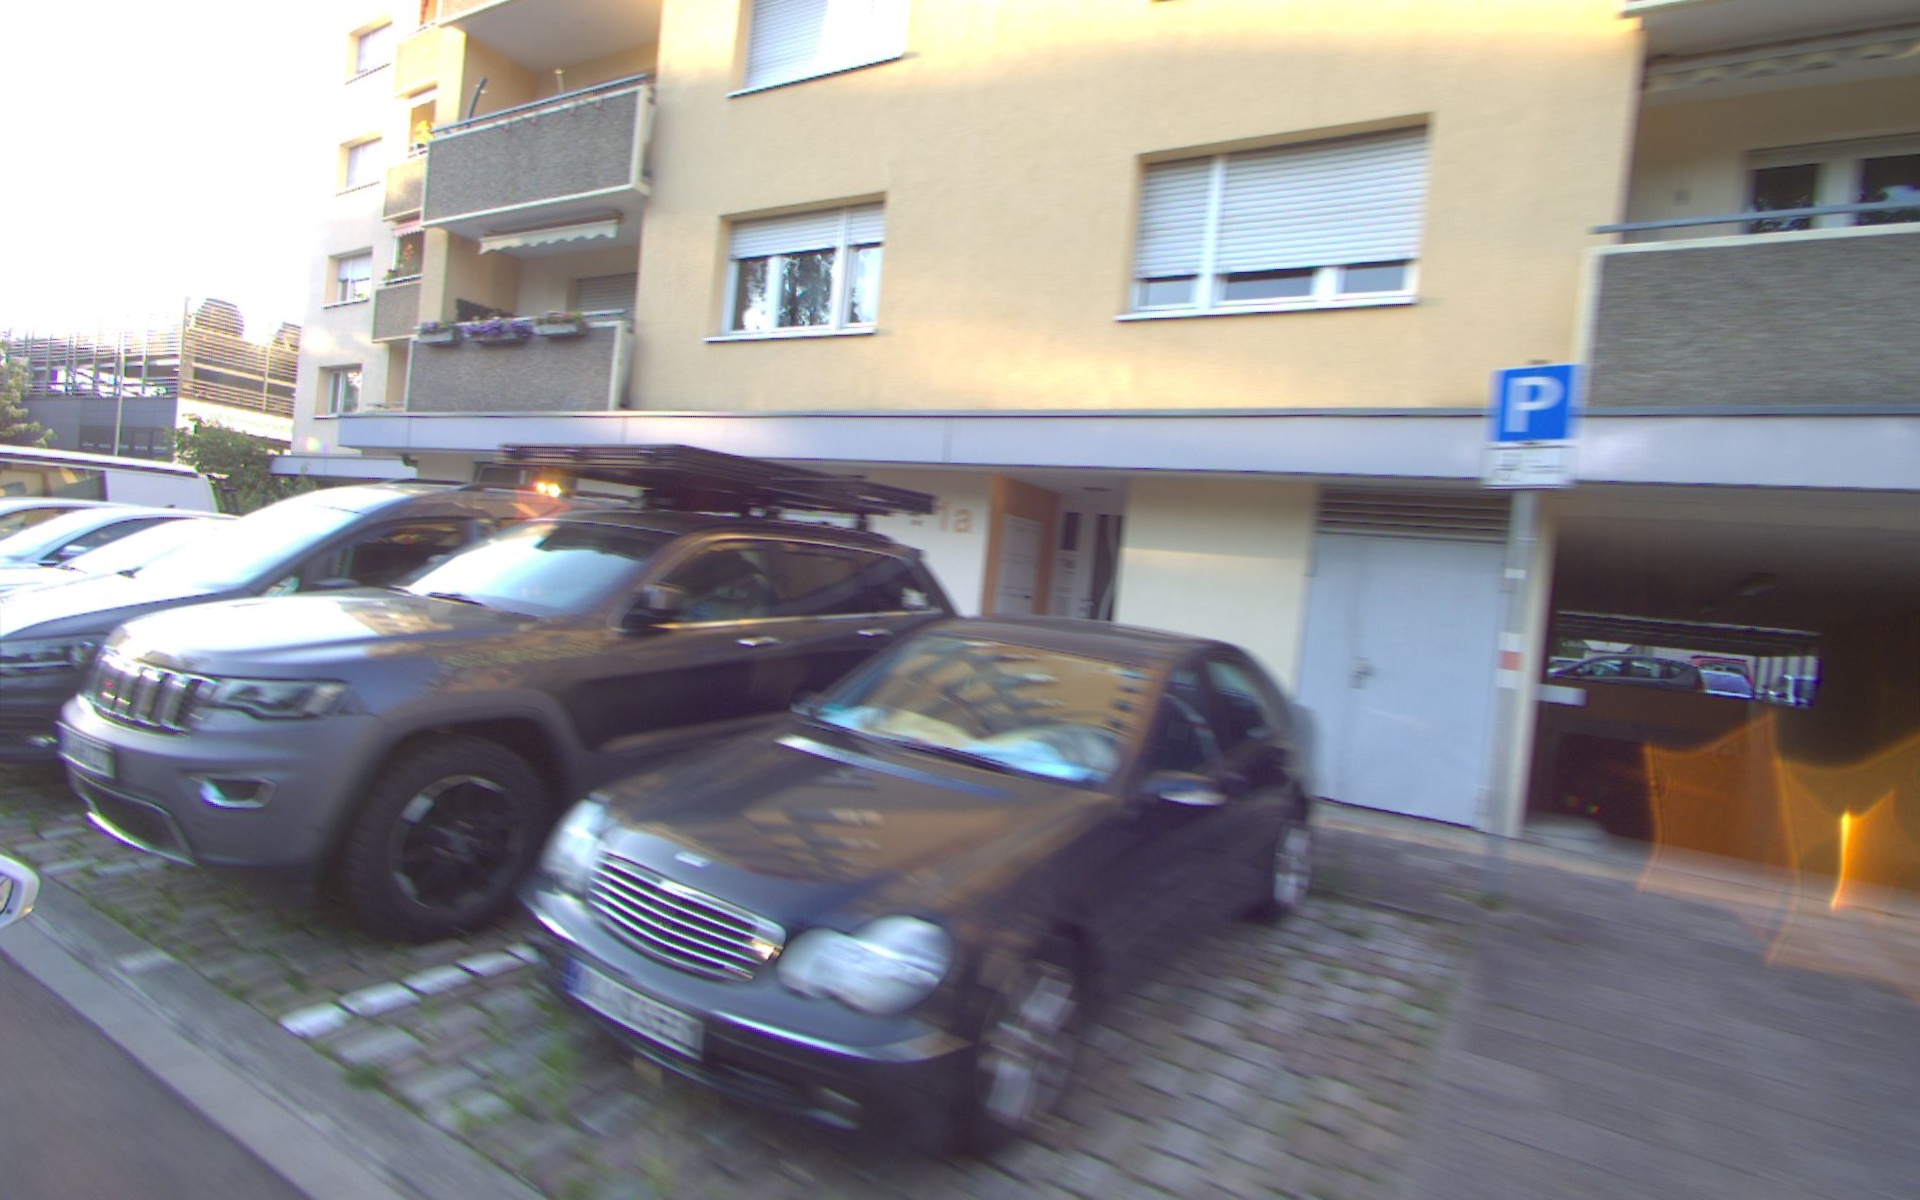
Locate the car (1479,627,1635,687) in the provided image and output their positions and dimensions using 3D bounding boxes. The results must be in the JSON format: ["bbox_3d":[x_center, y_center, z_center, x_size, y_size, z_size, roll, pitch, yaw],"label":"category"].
[{"bbox_3d":[27.663,2.619,46.824,5.959,2.038,1.996,6,0,32],"label":"car"}]

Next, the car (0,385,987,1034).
[{"bbox_3d":[-1.826,0.327,5.316,1.815,1.887,4.514,6,1,31],"label":"car"}]

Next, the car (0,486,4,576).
[{"bbox_3d":[-18.434,-1.317,15.952,1.815,1.551,4.407,4,0,29],"label":"car"}]

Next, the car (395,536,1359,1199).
[{"bbox_3d":[0.262,0.724,4.416,1.816,1.574,4.403,4,0,33],"label":"car"}]

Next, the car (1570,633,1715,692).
[{"bbox_3d":[28.468,2.614,42.181,4.758,1.856,1.996,6,0,32],"label":"car"}]

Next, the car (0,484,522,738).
[{"bbox_3d":[-6.012,0.070,7.930,1.815,1.583,4.405,4,0,31],"label":"car"}]

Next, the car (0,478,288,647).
[{"bbox_3d":[-9.981,-0.400,10.622,1.815,1.652,4.405,4,0,31],"label":"car"}]

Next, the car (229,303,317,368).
[{"bbox_3d":[-30.899,-11.821,45.225,3.939,2.038,1.993,6,0,37],"label":"car"}]

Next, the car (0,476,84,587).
[{"bbox_3d":[-16.168,-1.126,14.948,1.815,1.683,4.405,4,2,29],"label":"car"}]

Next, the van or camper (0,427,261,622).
[{"bbox_3d":[-11.640,-0.925,11.927,2.006,2.198,5.132,6,3,30],"label":"van or camper"}]

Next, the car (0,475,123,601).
[{"bbox_3d":[-14.127,-0.898,13.336,1.751,1.684,4.327,4,2,29],"label":"car"}]

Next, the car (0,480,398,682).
[{"bbox_3d":[-7.949,-0.165,9.342,1.815,1.613,4.405,4,0,31],"label":"car"}]

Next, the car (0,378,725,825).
[{"bbox_3d":[-3.970,0.042,6.849,1.815,2.007,4.639,4,0,31],"label":"car"}]

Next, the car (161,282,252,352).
[{"bbox_3d":[-32.261,-12.044,43.046,3.939,2.038,1.993,6,0,37],"label":"car"}]
